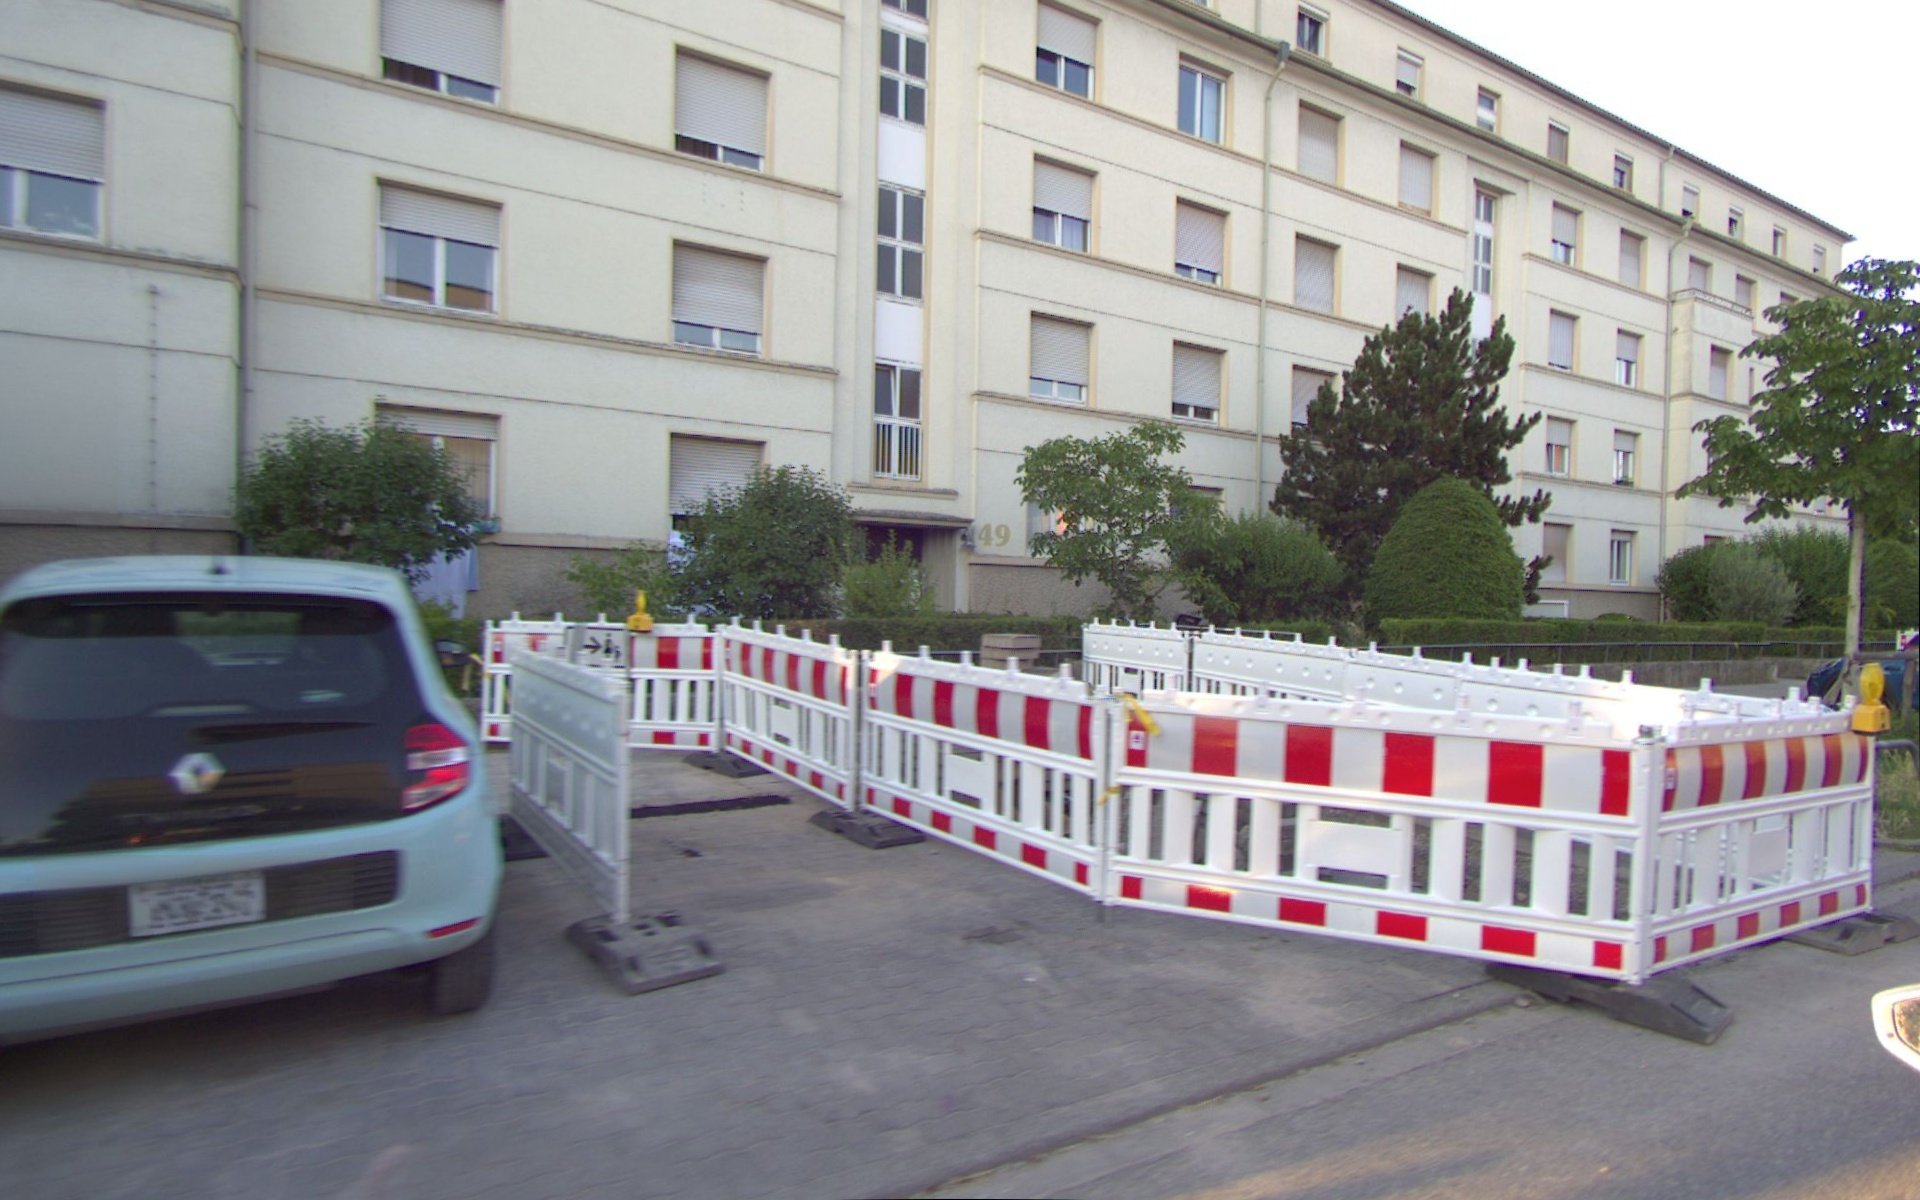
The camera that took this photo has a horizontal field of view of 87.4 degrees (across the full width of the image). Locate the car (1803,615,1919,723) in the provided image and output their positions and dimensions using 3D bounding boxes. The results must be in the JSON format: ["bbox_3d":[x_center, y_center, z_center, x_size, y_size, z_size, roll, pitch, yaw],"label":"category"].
[{"bbox_3d":[14.470,1.042,14.081,1.707,1.464,3.662,2,1,-28],"label":"car"}]

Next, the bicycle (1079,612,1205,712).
[{"bbox_3d":[2.487,0.816,13.956,0.534,1.202,2.019,1,1,-29],"label":"bicycle"}]

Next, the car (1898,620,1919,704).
[{"bbox_3d":[18.952,1.207,17.116,1.707,1.509,3.961,2,1,-28],"label":"car"}]

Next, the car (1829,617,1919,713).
[{"bbox_3d":[16.573,1.129,16.049,1.707,1.504,3.662,2,1,-28],"label":"car"}]

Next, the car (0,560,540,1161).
[{"bbox_3d":[-2.997,0.617,4.348,1.708,1.504,3.681,1,2,-30],"label":"car"}]

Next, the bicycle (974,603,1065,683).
[{"bbox_3d":[0.955,0.687,16.805,0.484,1.202,2.019,1,1,-29],"label":"bicycle"}]
